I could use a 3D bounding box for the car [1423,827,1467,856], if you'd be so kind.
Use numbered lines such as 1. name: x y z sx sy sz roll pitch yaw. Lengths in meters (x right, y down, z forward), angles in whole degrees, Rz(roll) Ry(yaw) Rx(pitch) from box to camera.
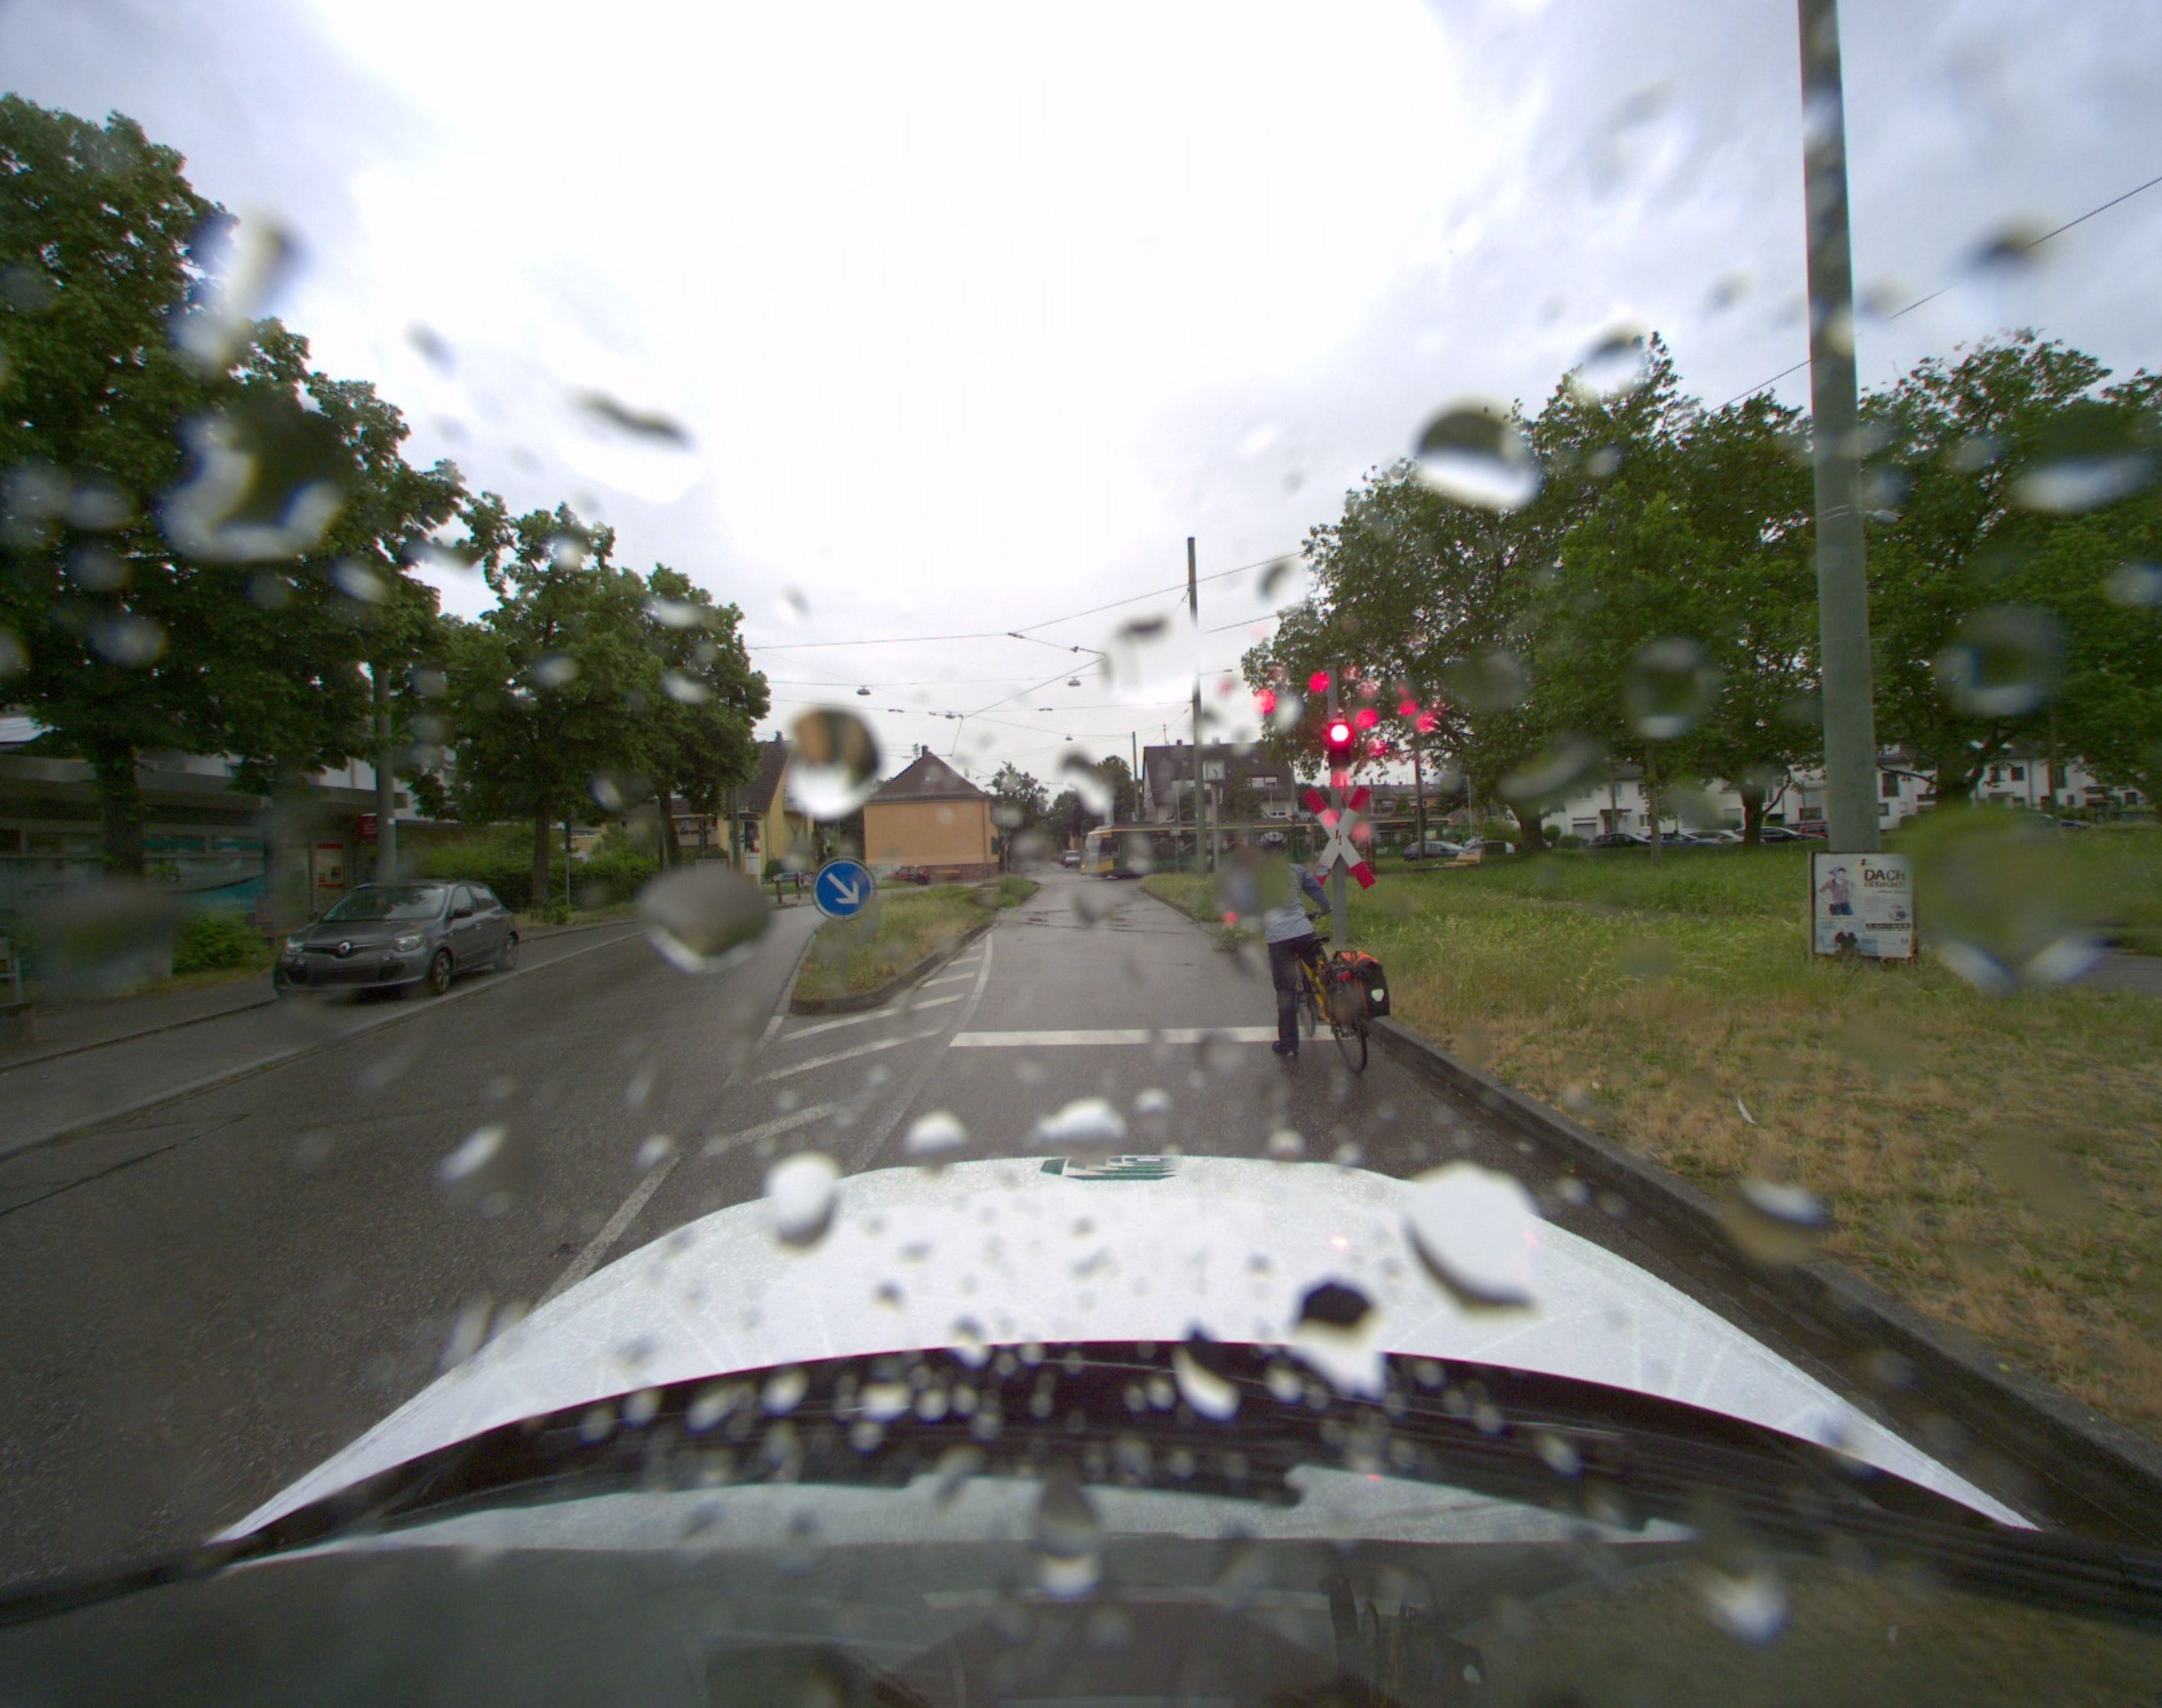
1. car: 32.563 -1.098 72.995 1.987 2.443 4.354 0 -1 1

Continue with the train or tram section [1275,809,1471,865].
1. train or tram section: 20.607 -1.219 57.750 13.067 3.553 2.765 -1 0 -5

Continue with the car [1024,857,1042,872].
1. car: -5.618 1.235 96.023 1.799 1.651 3.999 0 -1 0

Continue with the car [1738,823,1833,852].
1. car: 39.255 -0.860 45.410 1.821 1.495 3.867 0 -1 -44

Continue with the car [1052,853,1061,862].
1. car: -4.949 0.629 165.002 1.799 1.811 3.999 0 -1 0

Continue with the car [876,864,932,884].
1. car: -13.671 1.555 63.074 3.979 1.456 1.831 0 -1 -5

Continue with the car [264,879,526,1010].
1. car: -9.688 1.158 11.879 1.621 1.496 3.645 0 -1 -18

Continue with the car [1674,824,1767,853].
1. car: 35.697 -0.833 45.522 1.821 1.495 3.867 0 -1 -44

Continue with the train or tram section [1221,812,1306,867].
1. train or tram section: 12.611 -0.996 56.268 4.996 3.552 2.747 -2 1 -25

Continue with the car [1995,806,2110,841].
1. car: 54.625 -1.659 45.860 1.815 1.765 3.879 0 -1 -29

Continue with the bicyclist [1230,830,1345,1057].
1. bicyclist: 1.557 0.643 6.267 0.665 1.626 0.853 0 -1 0

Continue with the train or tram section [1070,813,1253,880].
1. train or tram section: 5.380 -0.590 52.227 12.243 3.552 2.743 -4 2 -30

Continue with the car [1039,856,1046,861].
1. car: -11.046 1.409 234.279 1.799 1.461 3.999 0 -1 0

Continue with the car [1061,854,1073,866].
1. car: -2.245 0.932 128.190 1.799 1.811 3.999 0 -1 0

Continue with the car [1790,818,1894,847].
1. car: 42.618 -1.169 45.683 1.814 1.495 3.881 0 -1 -27

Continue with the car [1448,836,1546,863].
1. car: 20.495 -0.197 40.249 3.964 1.285 1.851 0 -1 9

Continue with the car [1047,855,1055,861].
1. car: -7.734 1.151 211.710 1.799 1.564 3.999 0 -1 0

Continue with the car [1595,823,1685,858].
1. car: 30.532 -0.688 44.534 1.821 1.798 3.721 0 -1 -44

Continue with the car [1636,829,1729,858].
1. car: 33.194 -0.553 44.992 1.821 1.495 3.867 0 -1 -44

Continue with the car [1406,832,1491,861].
1. car: 20.204 -0.398 44.857 1.821 1.495 3.867 0 -1 -44

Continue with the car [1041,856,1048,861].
1. car: -10.176 1.360 228.963 1.799 1.461 3.999 0 -1 0

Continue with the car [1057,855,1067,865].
1. car: -3.469 1.099 147.717 1.799 1.811 3.999 0 -1 0

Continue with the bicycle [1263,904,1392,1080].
1. bicycle: 1.788 0.945 6.140 0.444 1.004 1.728 -2 0 1

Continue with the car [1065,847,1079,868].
1. car: -1.145 0.483 108.279 1.799 2.627 3.999 0 -1 0
